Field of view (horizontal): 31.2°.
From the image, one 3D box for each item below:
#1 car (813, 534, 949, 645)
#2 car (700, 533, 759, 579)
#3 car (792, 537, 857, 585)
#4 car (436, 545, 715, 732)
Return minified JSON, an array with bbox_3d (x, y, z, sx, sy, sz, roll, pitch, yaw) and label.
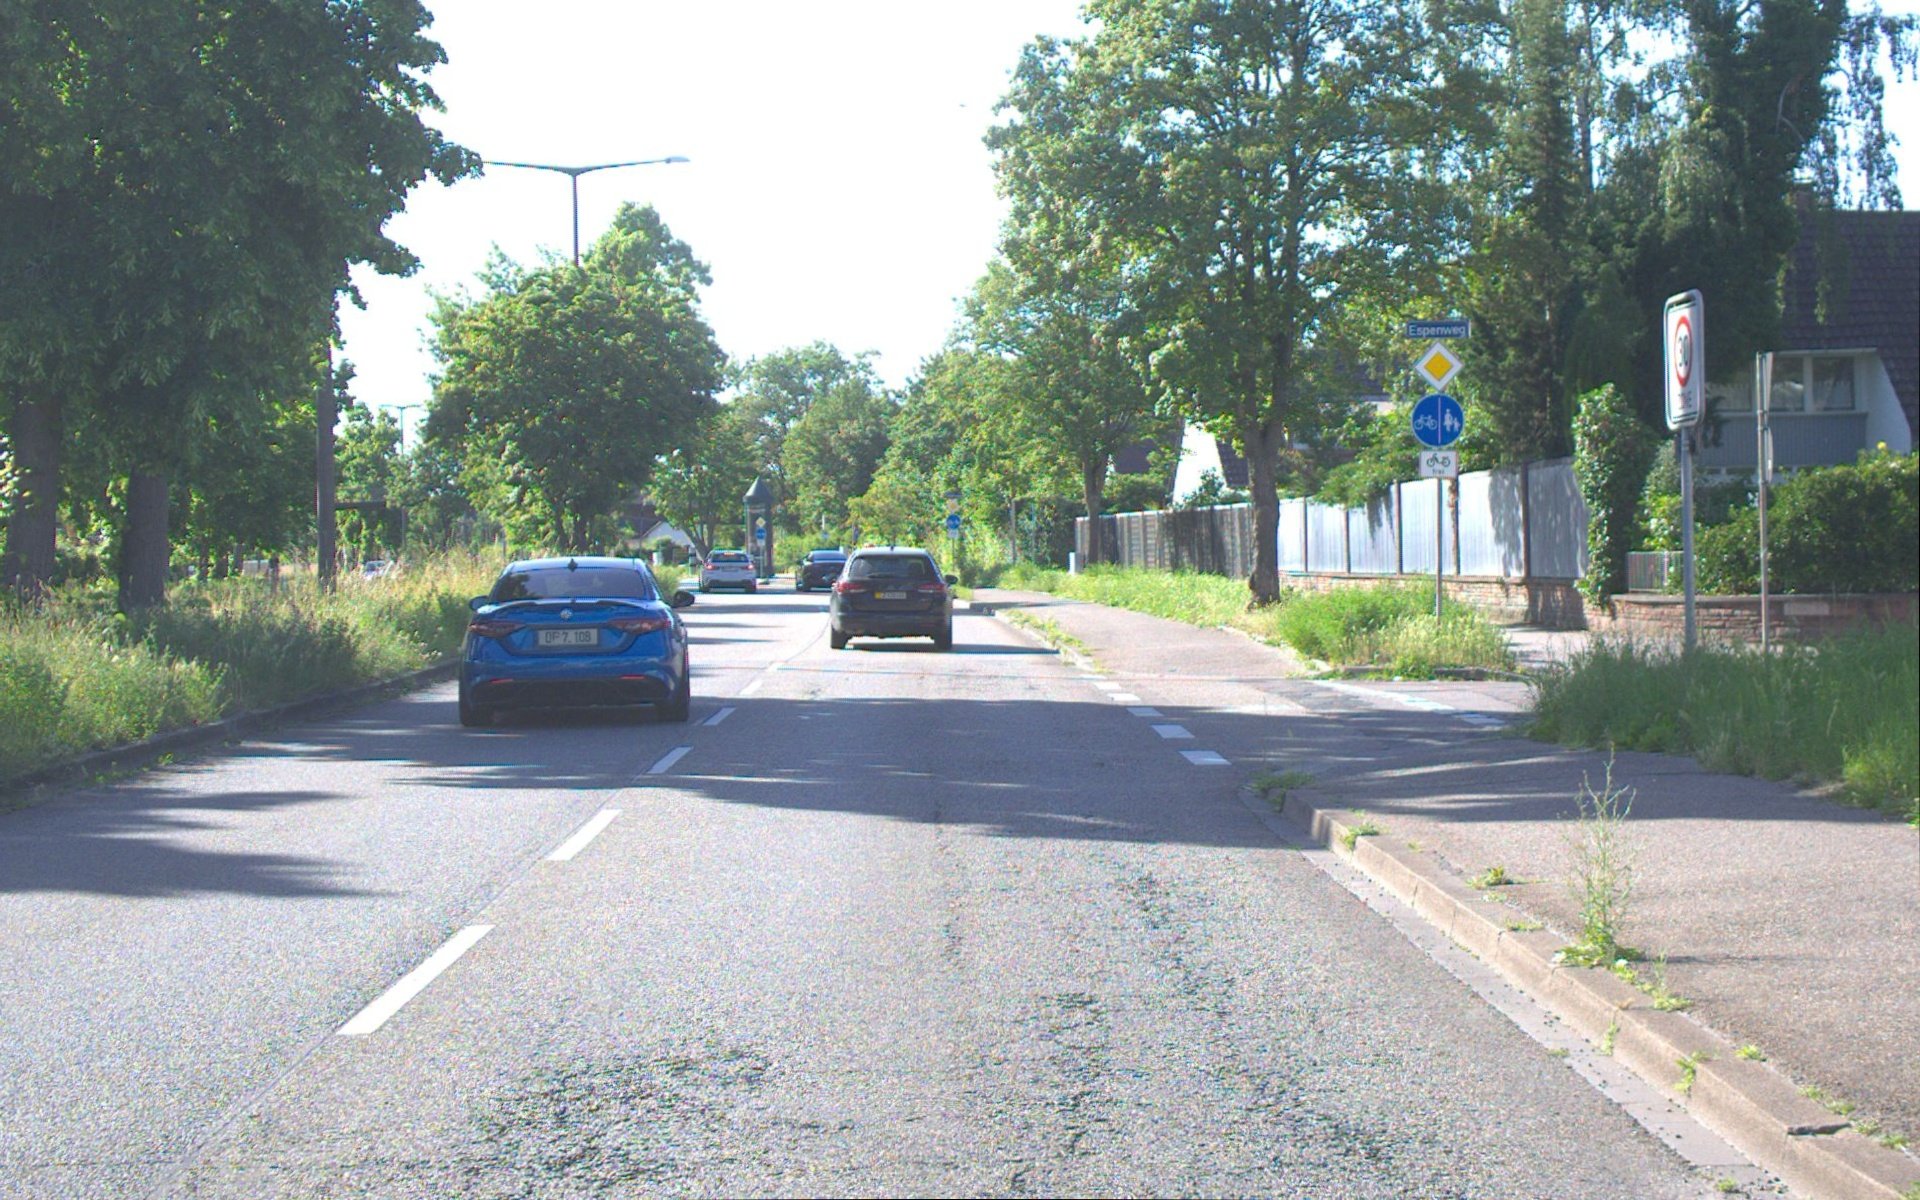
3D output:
[{"bbox_3d":[-1.181,-0.189,50.695,1.915,1.574,4.183,0,1,-2],"label":"car"},{"bbox_3d":[-7.820,-1.514,116.770,1.915,1.507,4.068,0,1,-3],"label":"car"},{"bbox_3d":[-4.809,-1.374,121.245,1.915,1.672,4.013,0,1,-8],"label":"car"},{"bbox_3d":[-3.262,0.315,29.934,1.838,1.469,4.184,-2,0,1],"label":"car"}]
